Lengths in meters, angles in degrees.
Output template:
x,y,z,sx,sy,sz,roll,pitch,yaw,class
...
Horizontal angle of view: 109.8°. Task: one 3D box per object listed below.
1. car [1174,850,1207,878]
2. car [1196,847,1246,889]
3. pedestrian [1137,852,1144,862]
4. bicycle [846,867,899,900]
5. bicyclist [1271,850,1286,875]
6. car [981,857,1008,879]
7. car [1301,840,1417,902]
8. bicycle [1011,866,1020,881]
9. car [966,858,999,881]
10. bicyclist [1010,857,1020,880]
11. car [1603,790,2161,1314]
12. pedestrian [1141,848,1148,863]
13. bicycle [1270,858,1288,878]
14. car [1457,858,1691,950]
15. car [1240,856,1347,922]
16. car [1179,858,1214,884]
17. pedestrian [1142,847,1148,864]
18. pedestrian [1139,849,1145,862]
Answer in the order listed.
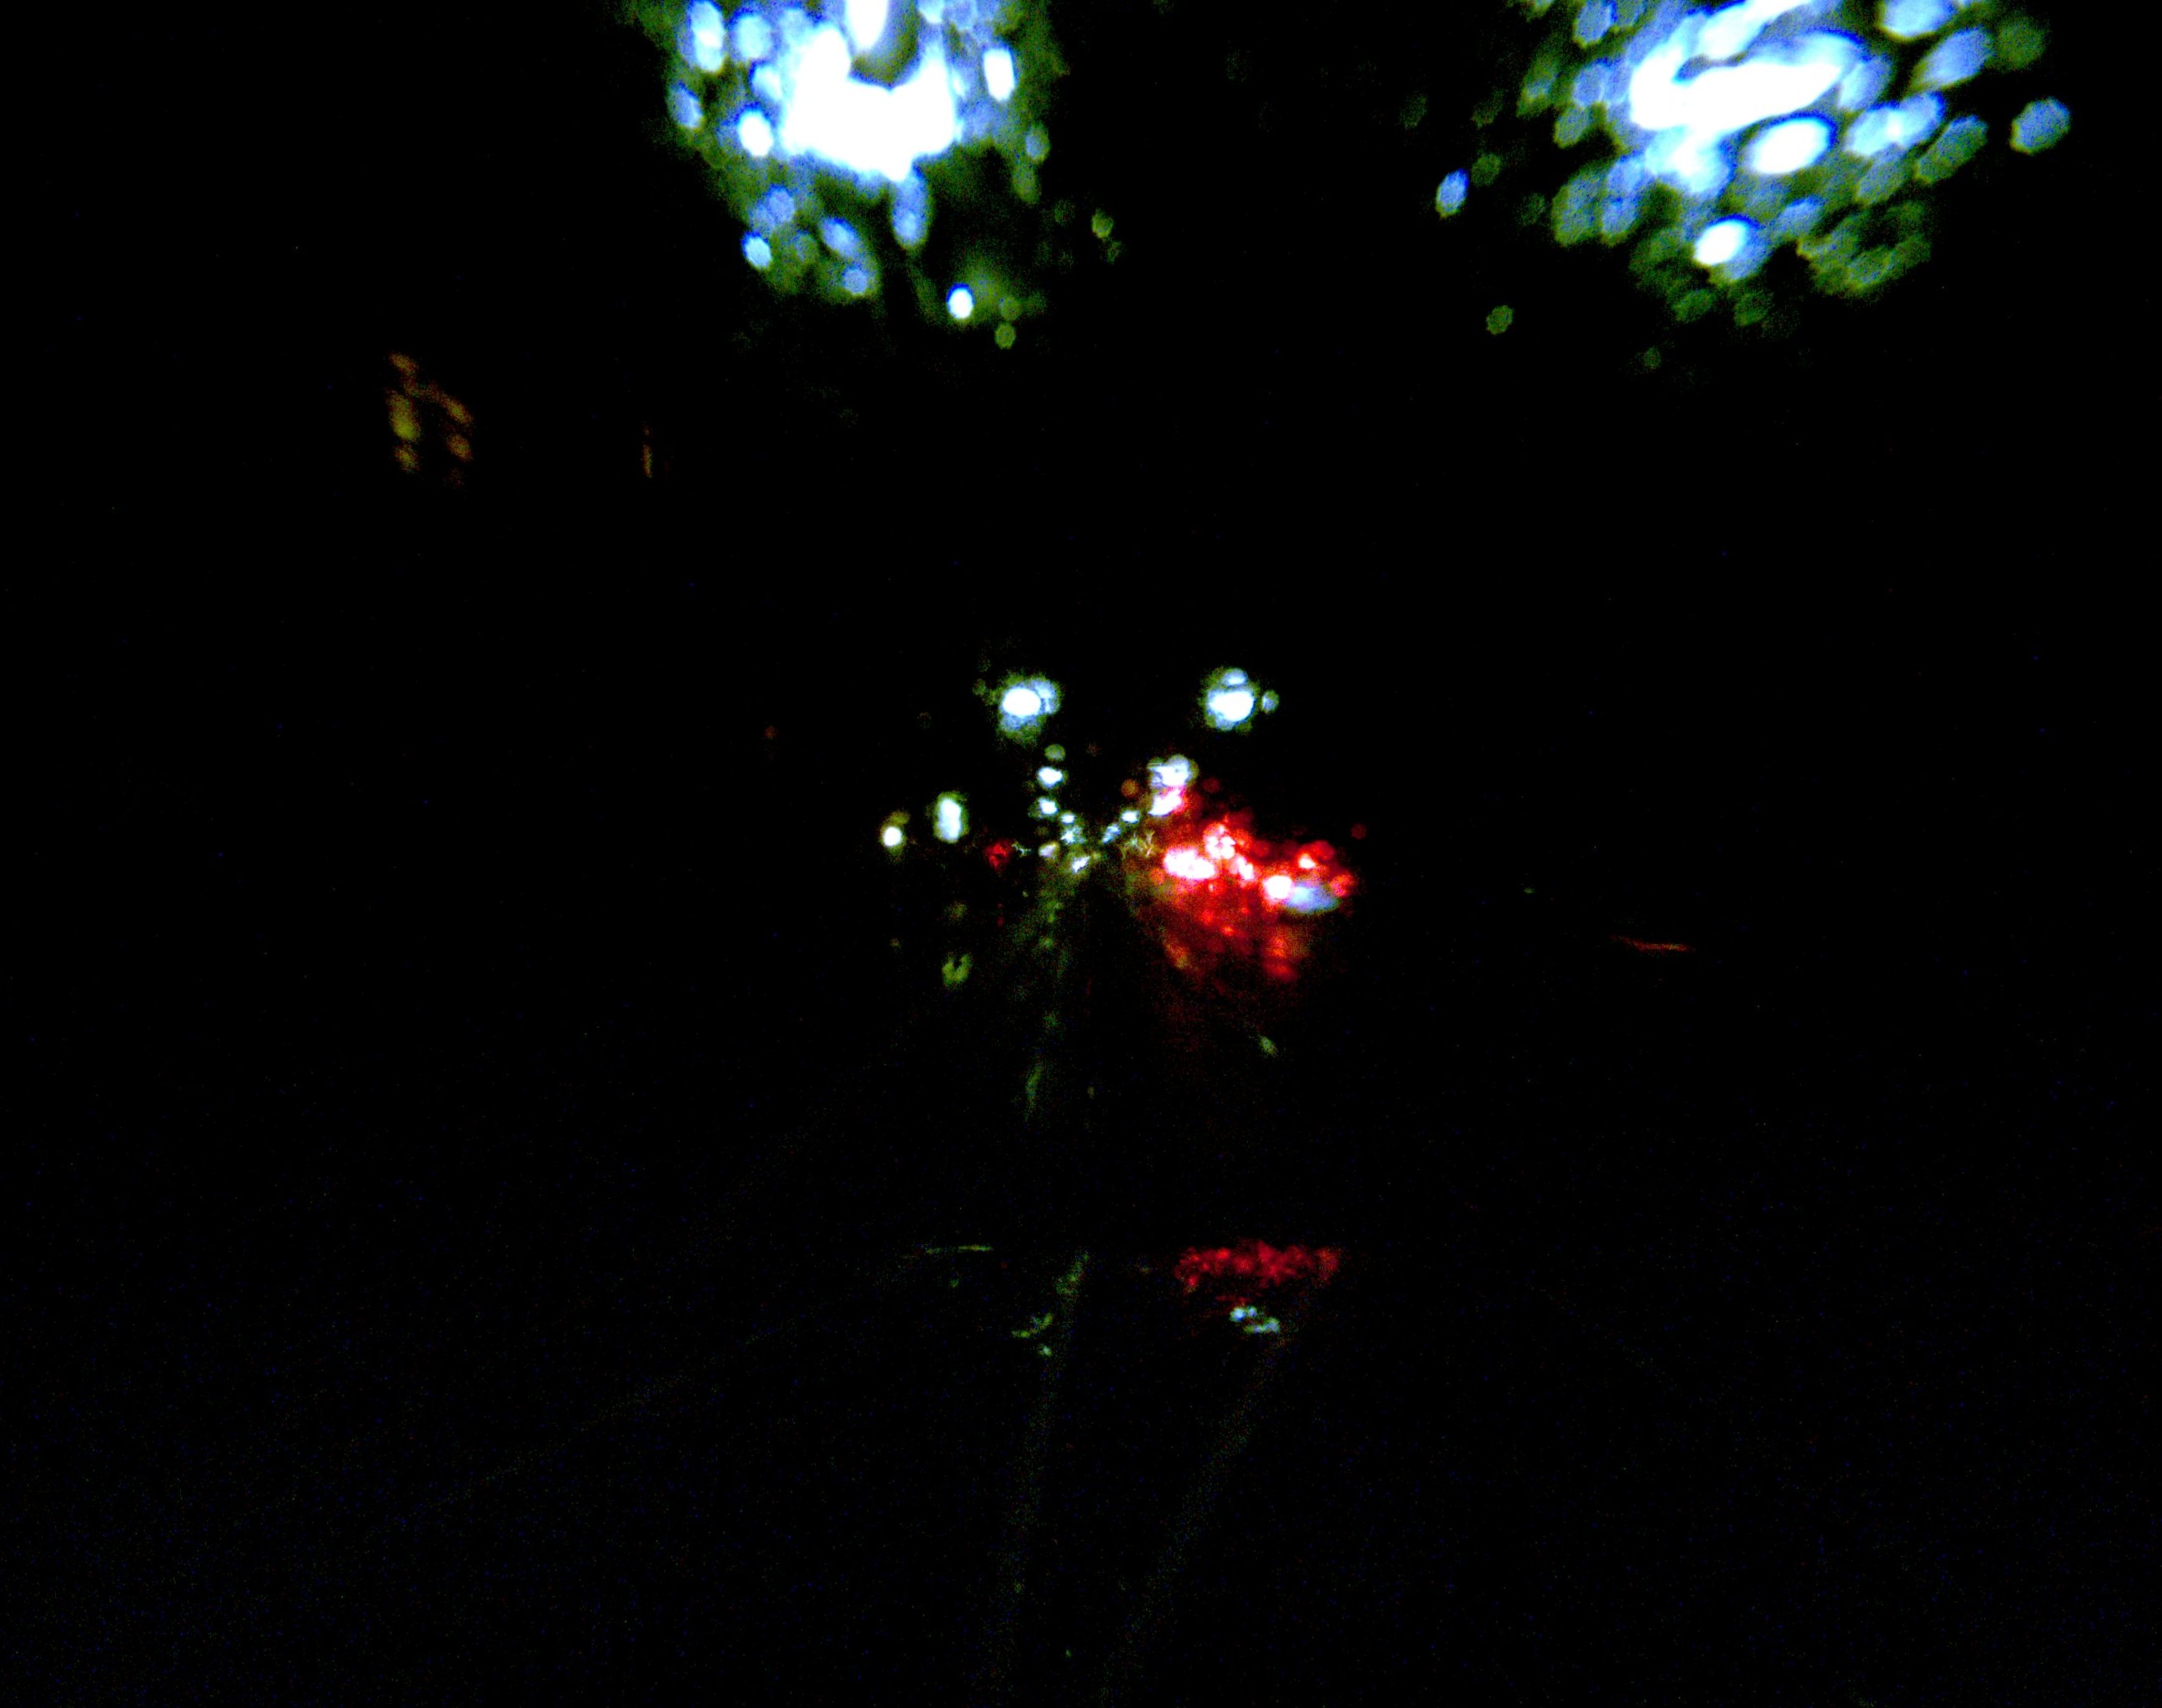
x,y,z,sx,sy,sz,roll,pitch,yaw,class
7.557,0.645,52.669,1.899,1.858,4.536,0,1,4,car
6.504,0.618,35.675,1.930,1.868,4.639,0,0,6,car
7.520,0.398,96.114,0.586,1.246,0.623,-5,2,-43,pedestrian
-7.870,1.103,28.713,1.818,1.157,0.492,2,2,-2,bicycle
11.997,0.505,46.127,0.656,1.457,0.868,-3,2,3,bicyclist
-6.419,1.001,56.553,1.652,1.516,3.579,3,0,-3,car
9.502,0.566,26.555,1.999,1.815,5.309,-4,0,0,car
-4.680,1.356,54.221,0.572,0.964,1.779,-3,1,-4,bicycle
-6.597,1.009,51.240,1.649,1.433,4.055,3,0,0,car
-4.685,1.020,54.104,0.572,1.539,0.815,-3,2,-4,bicyclist
4.711,0.688,3.296,1.943,1.805,4.385,0,0,1,car
7.605,0.228,91.606,0.716,1.764,0.671,-3,2,3,pedestrian
12.021,0.849,46.210,0.656,1.135,1.897,-3,1,4,bicycle
9.353,0.849,14.890,1.770,1.398,4.140,-3,1,-1,car
5.235,0.799,19.224,1.655,1.470,4.206,0,0,2,car
6.801,0.971,45.080,1.796,1.456,3.903,-1,0,5,car
7.856,0.176,93.363,0.609,1.975,0.858,-4,2,-2,pedestrian
7.664,0.230,94.792,0.401,1.620,0.531,-5,2,-43,pedestrian
